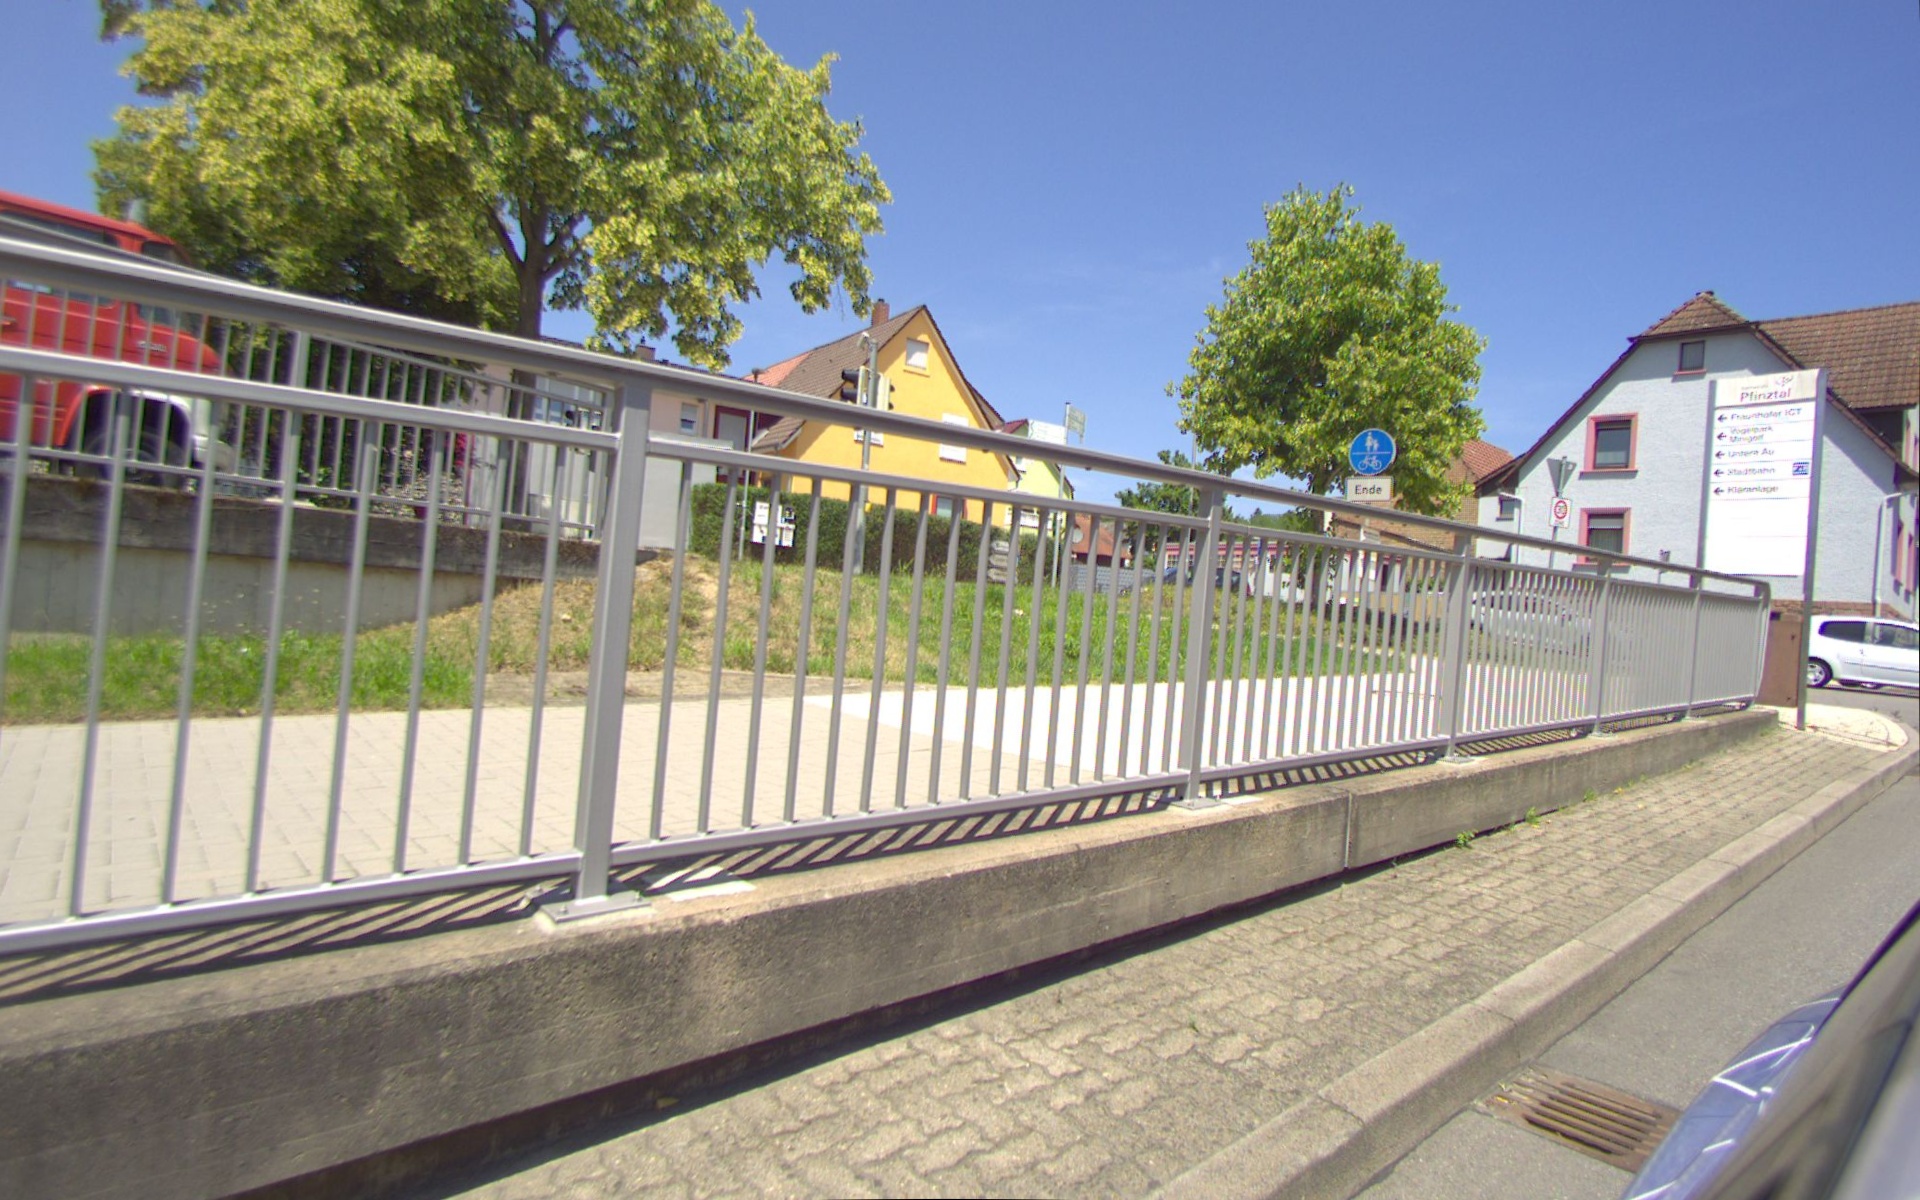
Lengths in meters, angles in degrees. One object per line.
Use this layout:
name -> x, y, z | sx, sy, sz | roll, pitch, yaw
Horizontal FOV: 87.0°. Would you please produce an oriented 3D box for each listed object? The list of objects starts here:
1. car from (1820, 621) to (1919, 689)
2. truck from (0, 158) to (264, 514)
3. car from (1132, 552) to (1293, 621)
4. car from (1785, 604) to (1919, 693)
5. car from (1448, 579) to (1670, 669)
car -> 21.103, 1.272, 21.270 | 4.108, 1.320, 1.898 | 5, 1, 21
truck -> -8.508, -2.144, 7.530 | 5.166, 2.364, 2.136 | 4, -1, -41
car -> 7.187, -0.363, 28.857 | 4.069, 1.609, 1.873 | 4, -1, -22
car -> 18.232, 0.975, 19.329 | 3.671, 1.497, 1.748 | 5, 2, 44
car -> 13.570, 0.500, 23.136 | 4.096, 1.554, 1.756 | 6, 2, 32
